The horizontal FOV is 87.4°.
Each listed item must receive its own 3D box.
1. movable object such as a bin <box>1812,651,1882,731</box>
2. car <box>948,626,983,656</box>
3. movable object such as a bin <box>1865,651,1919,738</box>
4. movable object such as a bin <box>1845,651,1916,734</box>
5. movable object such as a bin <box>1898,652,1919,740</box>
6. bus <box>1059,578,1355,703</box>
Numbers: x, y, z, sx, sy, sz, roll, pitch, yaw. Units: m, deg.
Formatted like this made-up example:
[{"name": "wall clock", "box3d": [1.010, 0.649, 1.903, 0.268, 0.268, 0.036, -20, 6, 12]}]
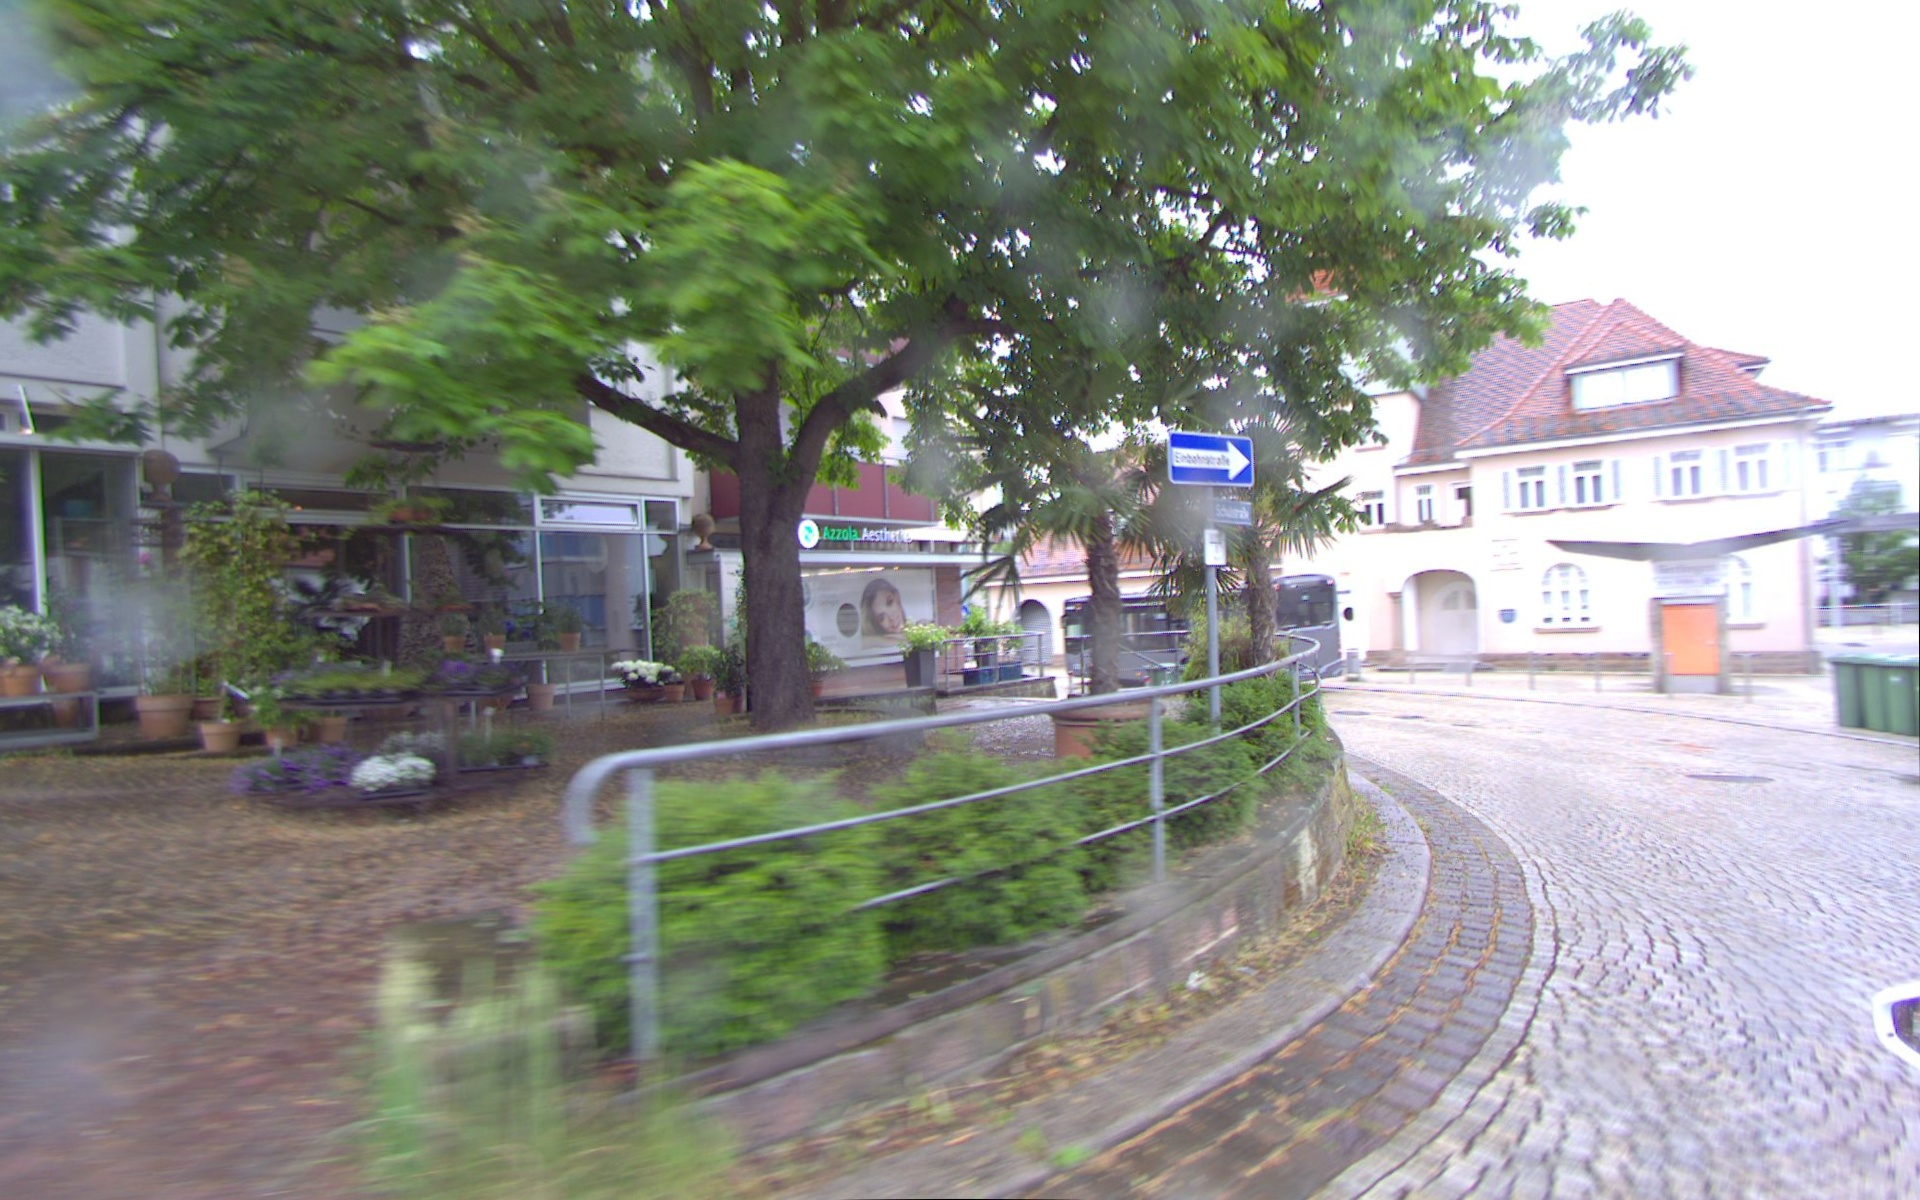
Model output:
[{"name": "movable object such as a bin", "box3d": [13.186, 1.346, 14.951, 0.527, 1.141, 0.540, -2, -2, 8]}, {"name": "car", "box3d": [0.485, 3.169, 77.778, 1.959, 2.041, 4.002, -2, 1, 11]}, {"name": "movable object such as a bin", "box3d": [12.911, 1.286, 13.757, 0.550, 1.141, 0.551, -2, -2, 19]}, {"name": "movable object such as a bin", "box3d": [13.106, 1.312, 14.315, 0.528, 1.141, 0.540, -2, -2, 19]}, {"name": "movable object such as a bin", "box3d": [12.816, 1.250, 13.149, 0.550, 1.141, 0.551, -2, -2, 19]}, {"name": "bus", "box3d": [6.843, 1.193, 30.369, 2.749, 3.029, 10.498, -3, -1, -24]}]
